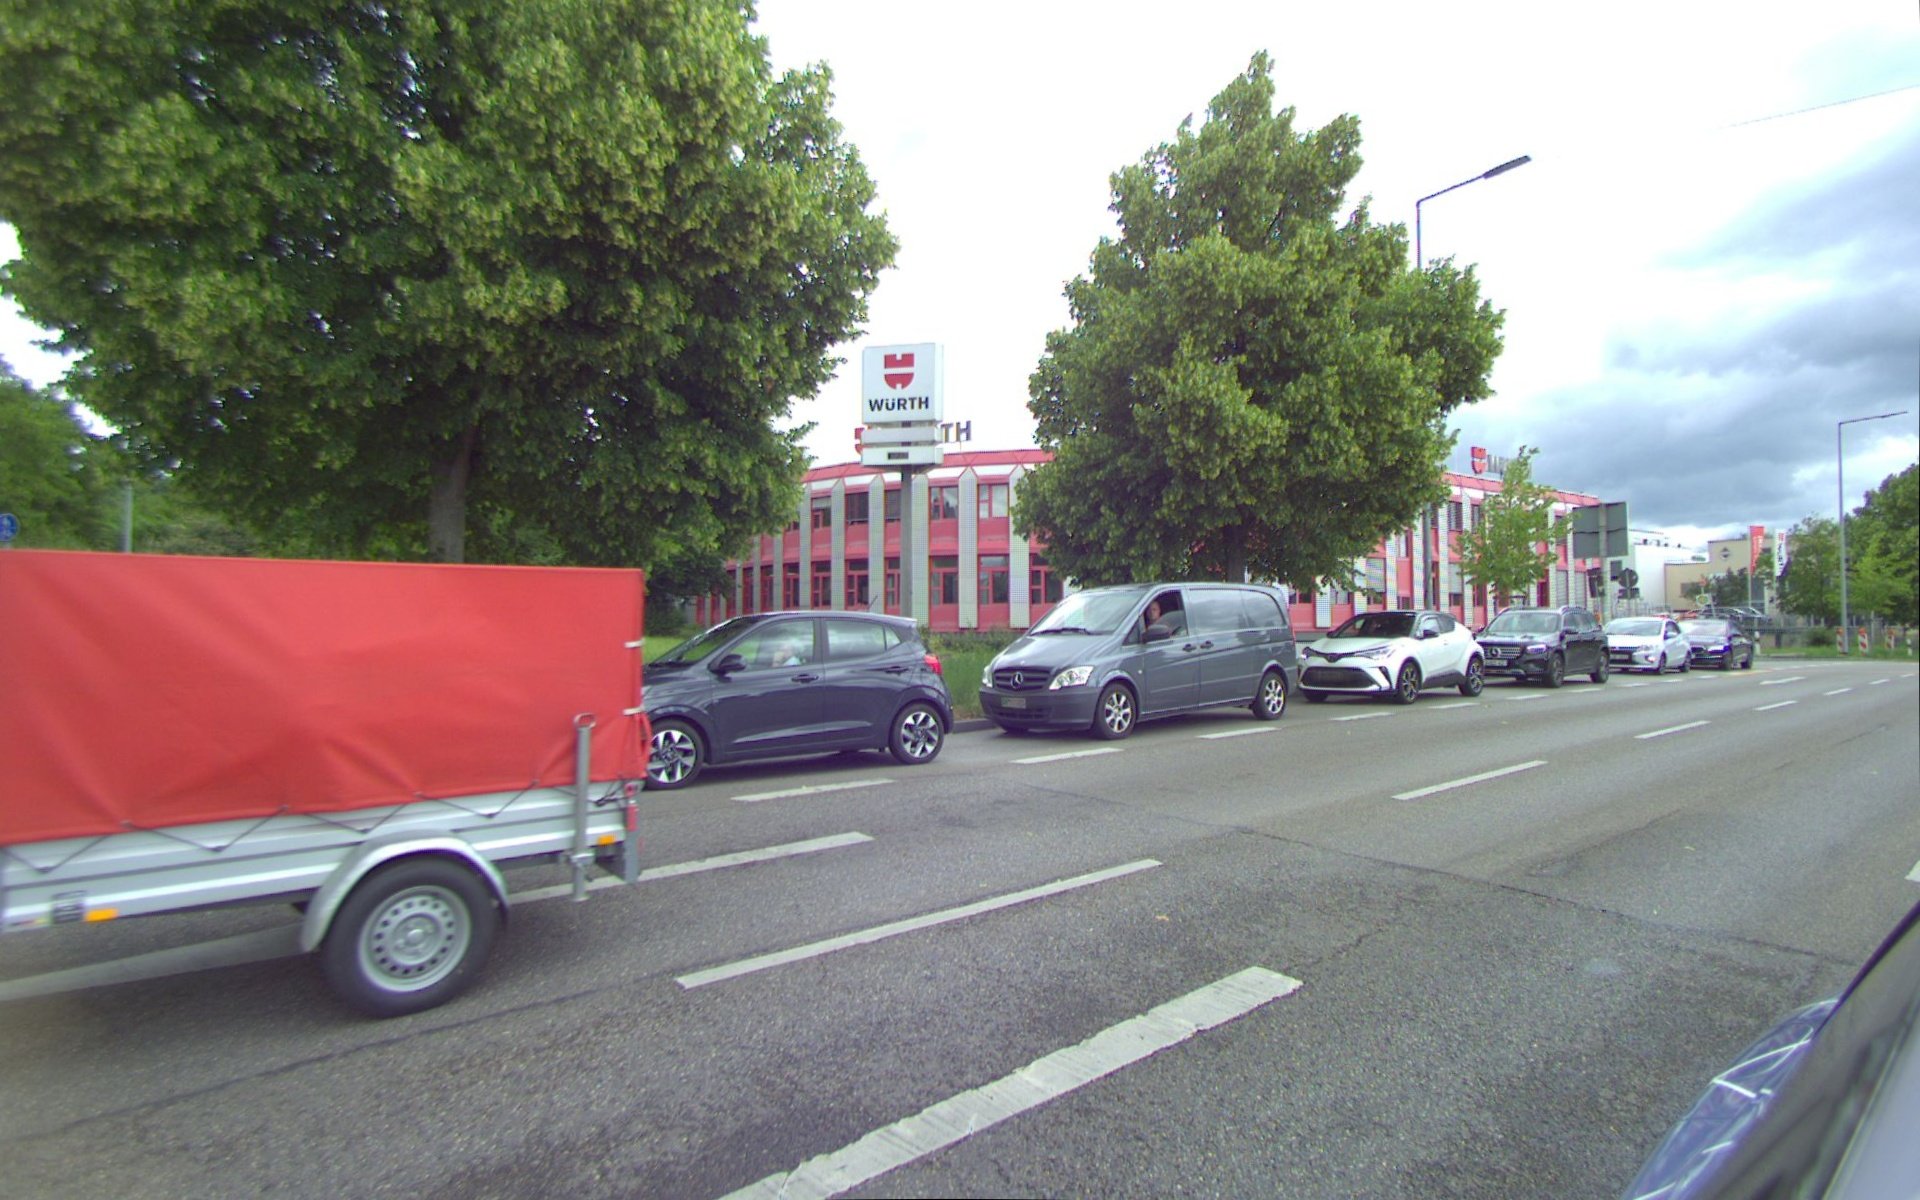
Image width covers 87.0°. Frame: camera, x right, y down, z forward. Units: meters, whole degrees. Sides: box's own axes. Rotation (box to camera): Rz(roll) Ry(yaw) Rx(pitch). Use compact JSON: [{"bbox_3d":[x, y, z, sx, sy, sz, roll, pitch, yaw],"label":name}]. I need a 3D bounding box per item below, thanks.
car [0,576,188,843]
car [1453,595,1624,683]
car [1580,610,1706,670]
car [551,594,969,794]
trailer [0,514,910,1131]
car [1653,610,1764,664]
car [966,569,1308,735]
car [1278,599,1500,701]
[{"bbox_3d":[-7.933,0.680,6.584,4.278,1.676,1.768,0,0,-21],"label":"car"},{"bbox_3d":[12.390,0.810,21.584,4.133,1.679,1.863,1,-3,-41],"label":"car"},{"bbox_3d":[18.159,1.007,26.838,4.293,1.458,1.761,0,-1,-41],"label":"car"},{"bbox_3d":[-1.822,0.763,9.536,3.495,1.526,1.607,-1,-3,-34],"label":"car"},{"bbox_3d":[-2.298,0.588,4.187,3.926,1.680,1.774,-1,0,-40],"label":"trailer"},{"bbox_3d":[22.025,1.037,29.726,4.293,1.458,1.761,0,-1,-41],"label":"car"},{"bbox_3d":[2.417,0.620,13.090,4.591,1.798,1.761,1,-4,-40],"label":"car"},{"bbox_3d":[7.406,0.805,17.324,4.034,1.536,1.842,0,-4,-41],"label":"car"}]
